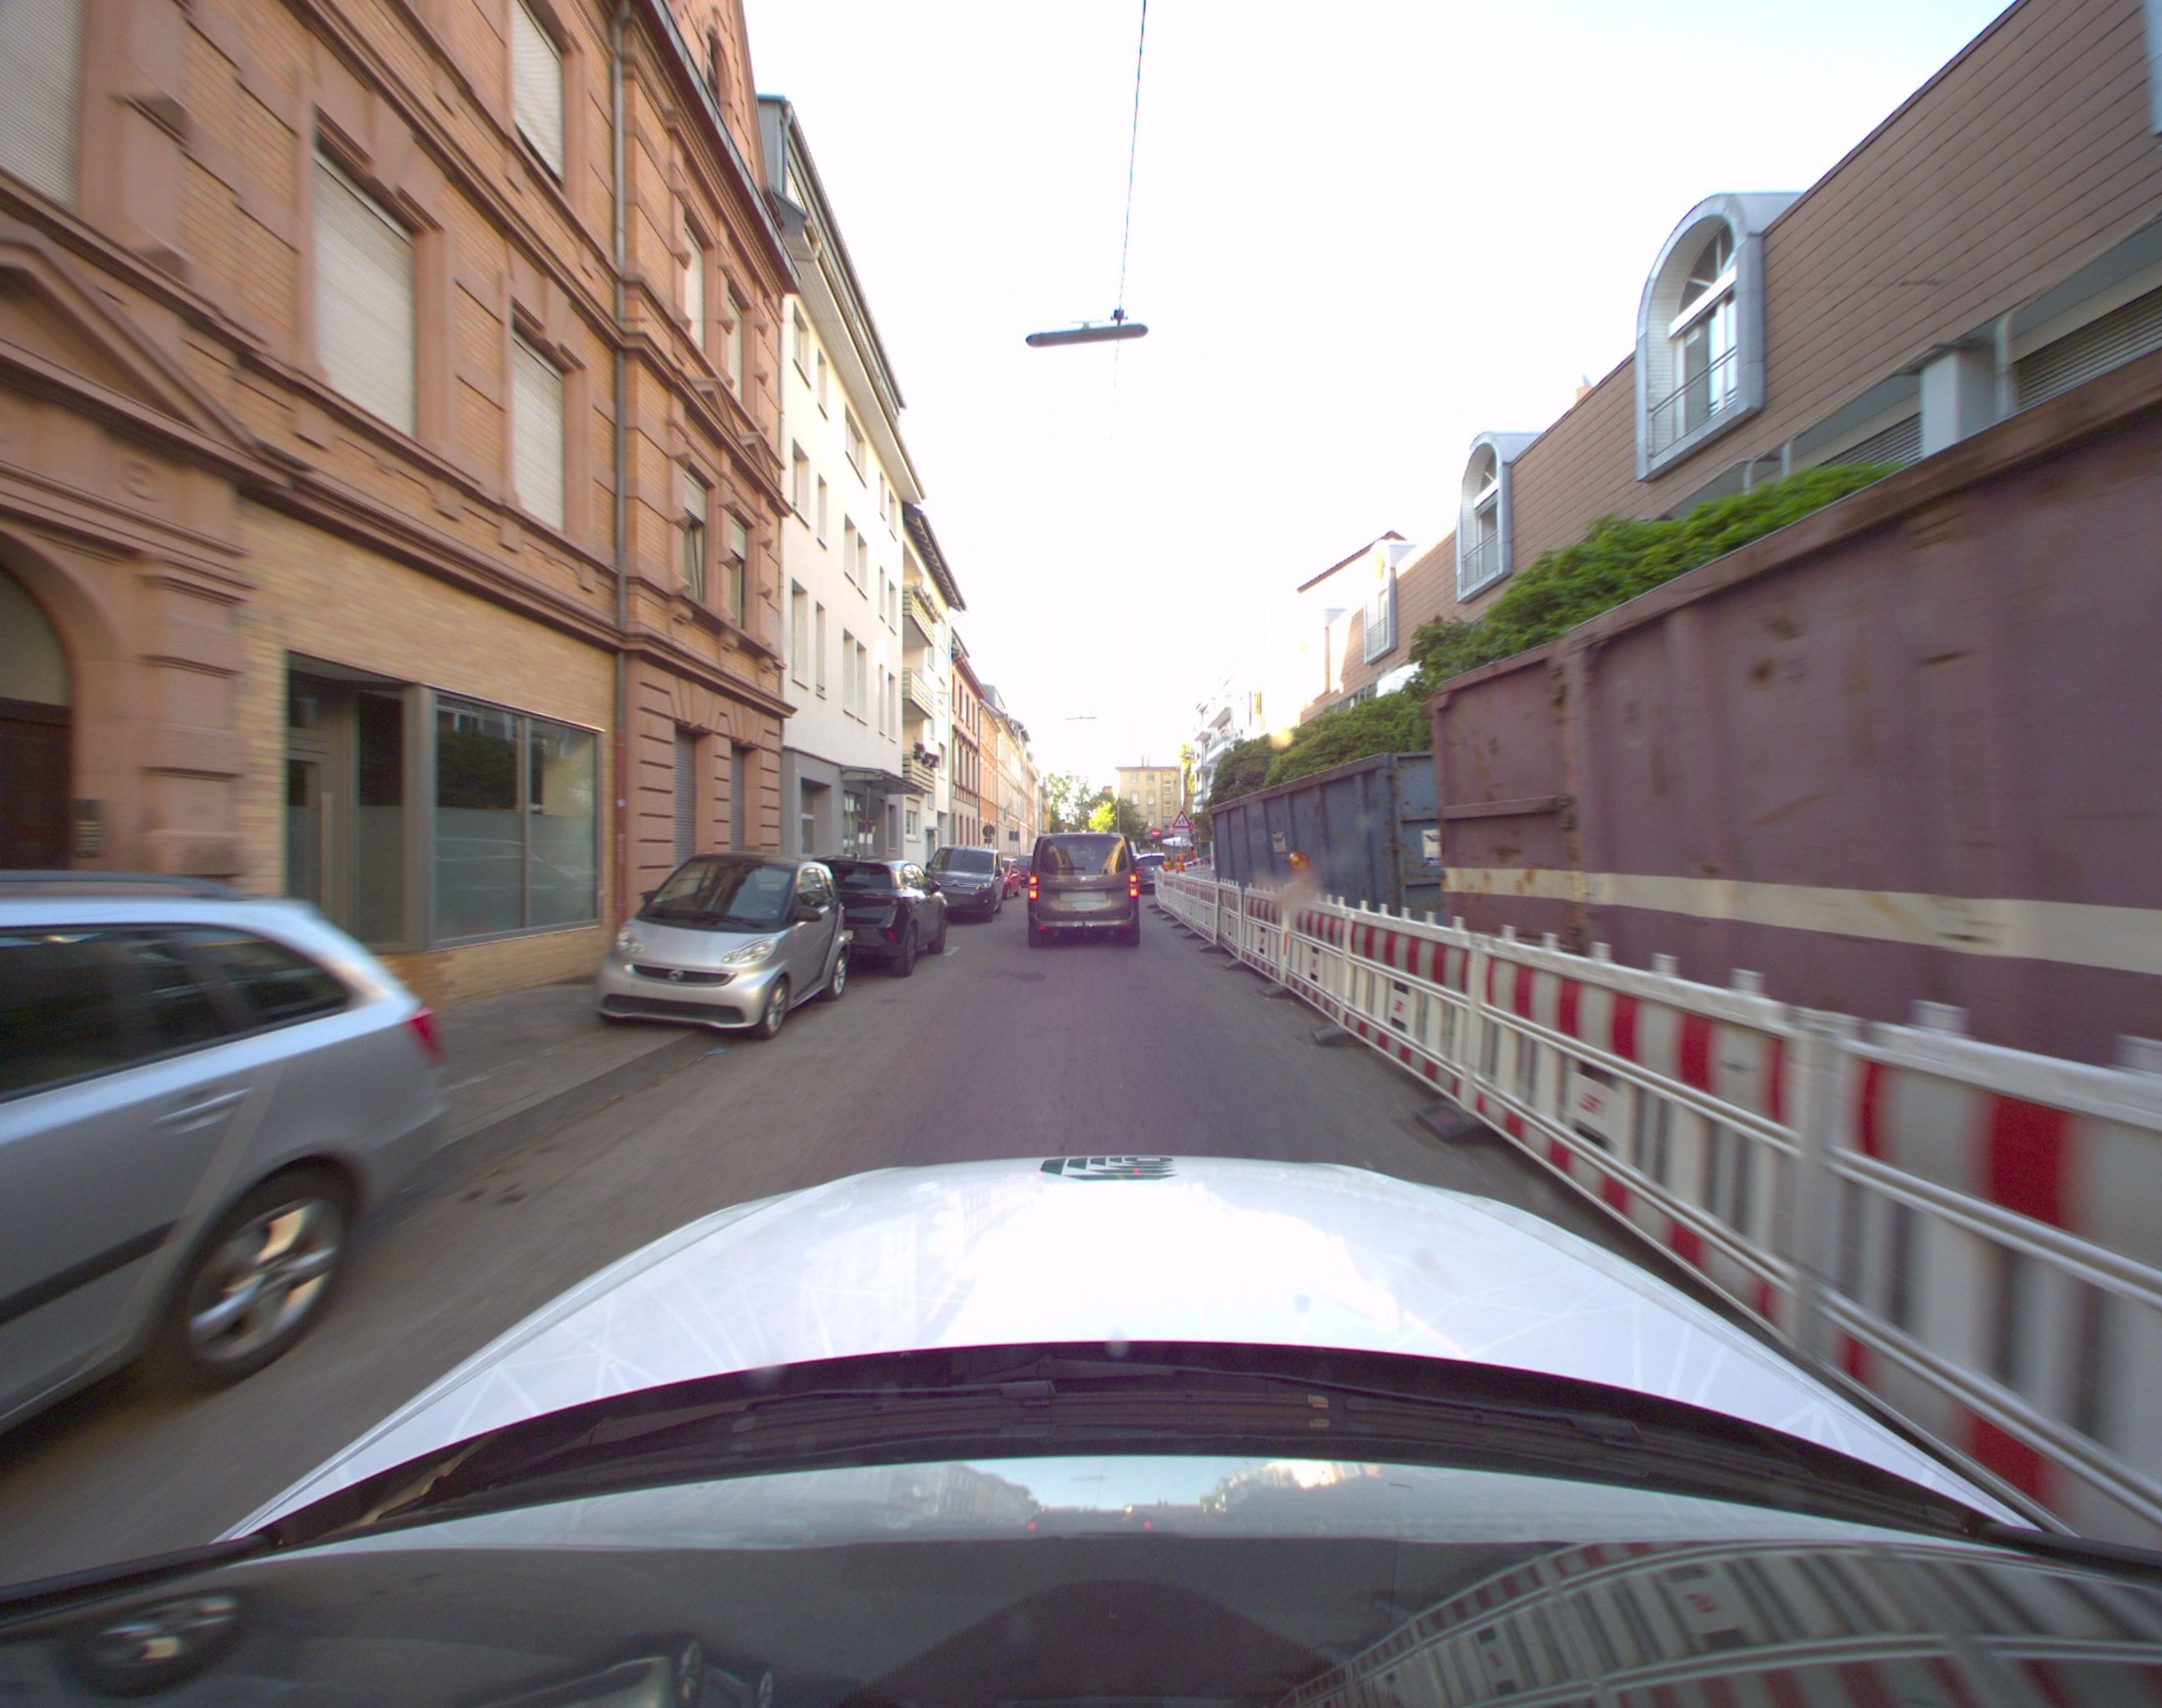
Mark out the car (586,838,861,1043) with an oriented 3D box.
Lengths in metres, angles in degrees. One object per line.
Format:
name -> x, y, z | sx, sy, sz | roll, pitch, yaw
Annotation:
car -> -3.277, 0.703, 8.009 | 1.392, 1.588, 2.793 | 3, 0, -1

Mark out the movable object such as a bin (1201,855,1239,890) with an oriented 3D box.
movable object such as a bin -> 5.630, 0.753, 32.922 | 1.257, 1.376, 0.795 | 1, -1, -26

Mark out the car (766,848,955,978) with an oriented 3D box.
car -> -3.018, 0.724, 12.044 | 1.735, 1.599, 4.013 | 0, 0, -1

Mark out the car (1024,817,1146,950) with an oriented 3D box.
car -> 0.045, 0.455, 14.790 | 1.852, 2.013, 3.998 | -2, 0, -1

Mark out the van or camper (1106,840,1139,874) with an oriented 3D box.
van or camper -> 3.396, 0.236, 67.849 | 2.094, 2.602, 7.507 | -1, 0, -2

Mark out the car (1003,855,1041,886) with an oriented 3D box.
car -> -2.952, 0.799, 41.006 | 1.652, 1.448, 3.284 | 3, 0, -1

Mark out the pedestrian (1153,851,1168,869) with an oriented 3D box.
pedestrian -> 7.481, 0.576, 76.778 | 0.939, 1.720, 1.052 | -1, 0, -35

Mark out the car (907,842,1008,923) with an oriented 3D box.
car -> -3.050, 0.651, 21.058 | 1.988, 1.858, 4.582 | 0, 0, -2

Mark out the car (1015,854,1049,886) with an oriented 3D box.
car -> -2.714, 0.859, 46.049 | 1.706, 1.644, 3.977 | 2, 0, -1

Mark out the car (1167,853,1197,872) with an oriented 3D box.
car -> 8.070, 0.665, 64.948 | 1.586, 1.416, 3.246 | -1, 0, 23

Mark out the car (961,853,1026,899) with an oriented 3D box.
car -> -3.204, 0.782, 30.470 | 1.661, 1.485, 3.610 | 5, 0, 5

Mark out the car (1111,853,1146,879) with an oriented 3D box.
car -> 2.979, 0.747, 51.740 | 1.718, 1.612, 4.584 | 0, 0, -3

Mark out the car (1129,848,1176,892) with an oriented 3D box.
car -> 2.962, 0.628, 34.499 | 1.742, 1.683, 4.527 | 1, 0, 2

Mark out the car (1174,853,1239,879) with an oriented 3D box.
car -> 8.087, 0.762, 52.661 | 3.884, 1.607, 1.693 | 1, 0, -2

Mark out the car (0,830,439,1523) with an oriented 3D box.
car -> -3.125, 0.702, 1.179 | 1.551, 1.508, 3.595 | 2, 0, -2

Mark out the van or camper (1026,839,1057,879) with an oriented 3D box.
van or camper -> -2.747, 0.329, 57.467 | 1.944, 2.649, 7.135 | -1, 0, -2

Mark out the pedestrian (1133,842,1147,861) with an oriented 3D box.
pedestrian -> 5.102, -0.230, 70.142 | 0.874, 1.555, 0.869 | -3, 0, -22
